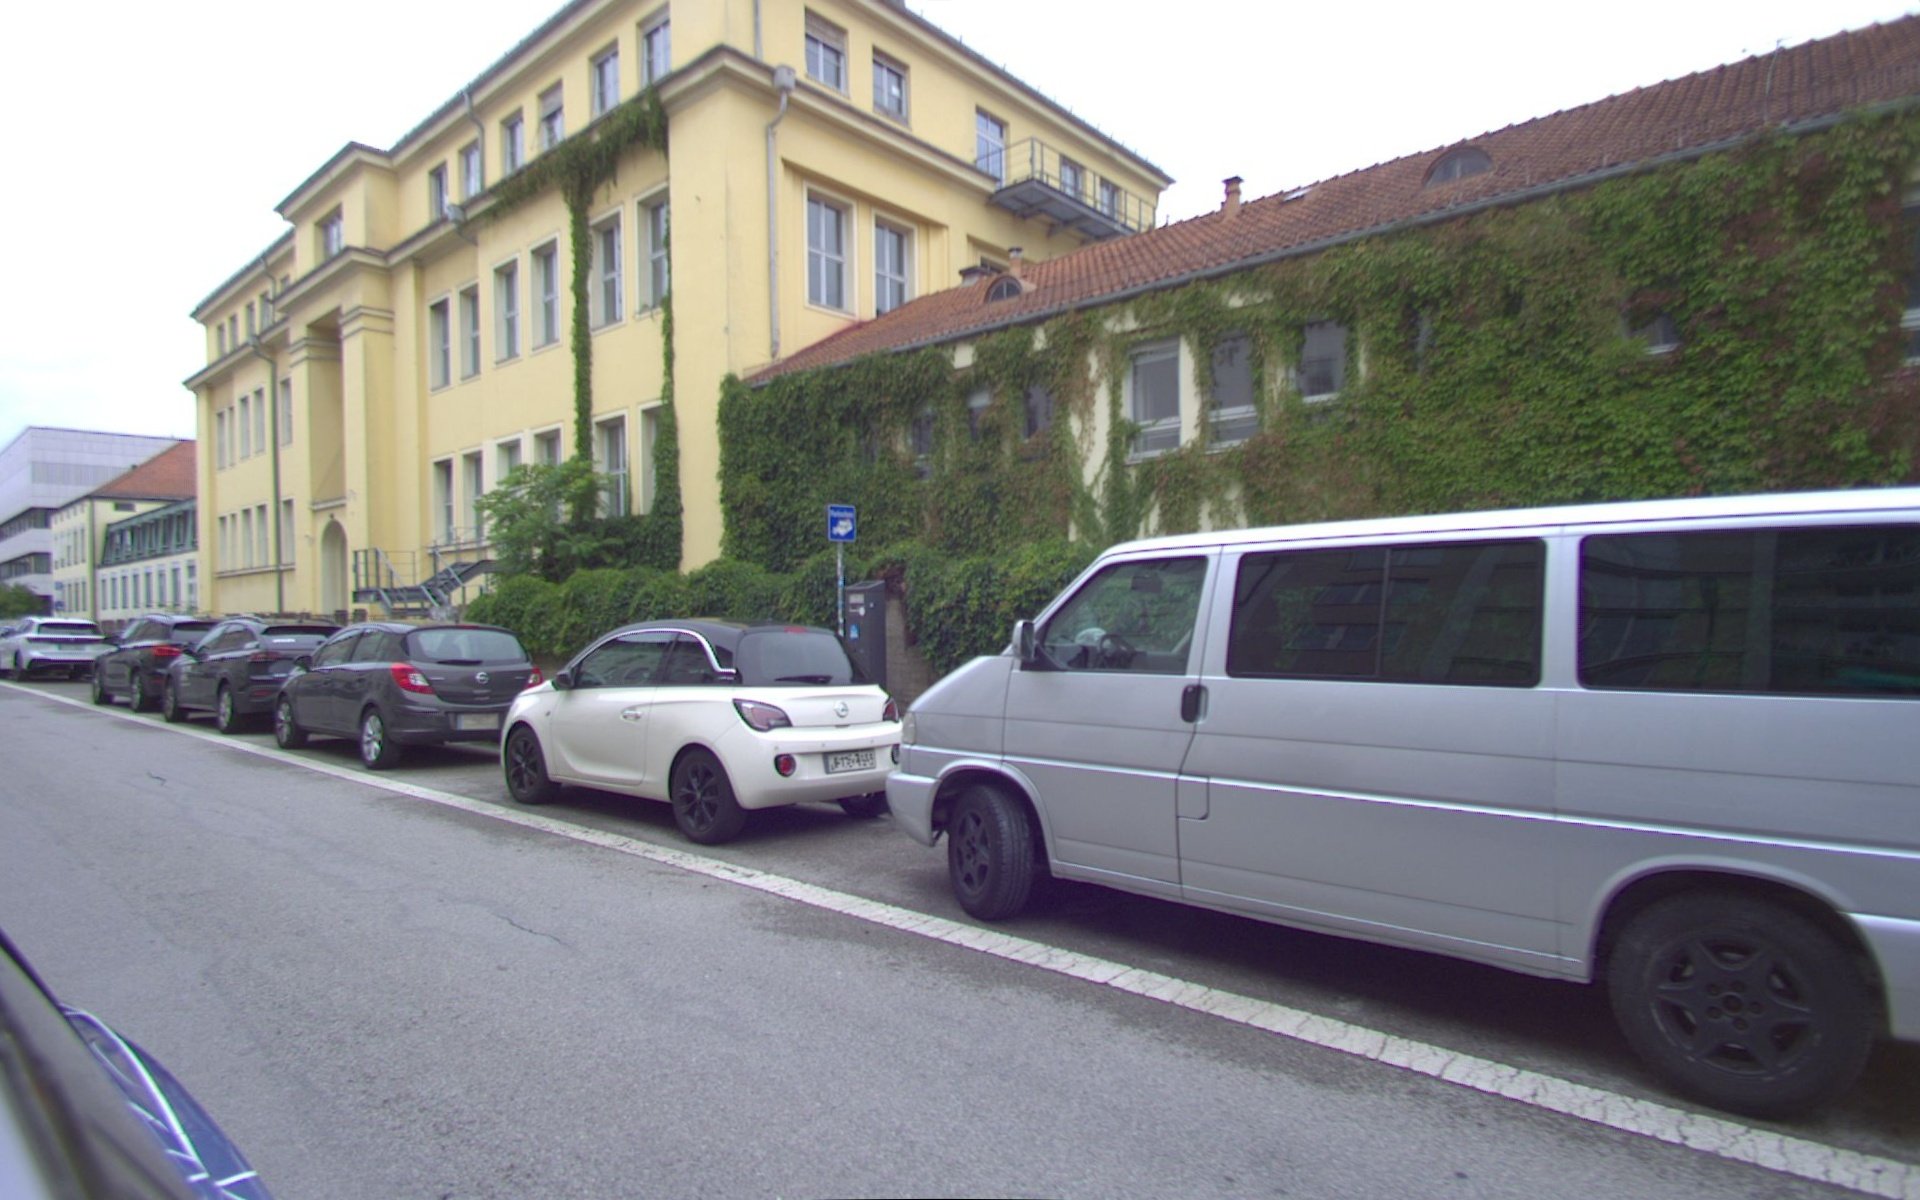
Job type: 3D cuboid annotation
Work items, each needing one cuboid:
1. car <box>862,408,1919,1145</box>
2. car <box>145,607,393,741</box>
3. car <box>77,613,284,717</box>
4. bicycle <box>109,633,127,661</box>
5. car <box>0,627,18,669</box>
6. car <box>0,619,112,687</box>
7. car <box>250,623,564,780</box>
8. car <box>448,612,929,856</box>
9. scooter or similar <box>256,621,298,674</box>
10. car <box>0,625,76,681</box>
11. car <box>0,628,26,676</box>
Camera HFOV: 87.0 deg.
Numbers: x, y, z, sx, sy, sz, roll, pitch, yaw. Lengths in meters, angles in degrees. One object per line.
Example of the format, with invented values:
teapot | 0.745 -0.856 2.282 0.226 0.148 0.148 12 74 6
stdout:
car | 1.892 0.507 4.411 4.772 1.904 1.867 -1 -3 42
car | -9.987 0.966 14.505 4.461 1.642 1.707 -1 -3 39
car | -13.792 1.071 17.798 4.812 1.599 1.771 -1 -3 39
bicycle | -34.450 1.924 41.424 0.530 1.070 1.643 -1 0 -39
car | -35.681 1.742 36.680 4.649 1.442 1.766 -1 0 41
car | -24.114 1.335 26.676 4.849 1.646 1.729 -1 -2 38
car | -6.287 0.999 11.303 4.247 1.441 1.587 -1 -3 40
car | -2.273 0.853 7.921 4.014 1.452 1.575 -1 -3 39
scooter or similar | -18.248 1.261 27.036 1.500 1.379 0.554 -2 -1 41
car | -27.833 1.552 29.959 4.490 1.514 1.686 -1 -5 39
car | -31.949 1.659 32.996 4.146 1.508 1.682 -1 -4 41
